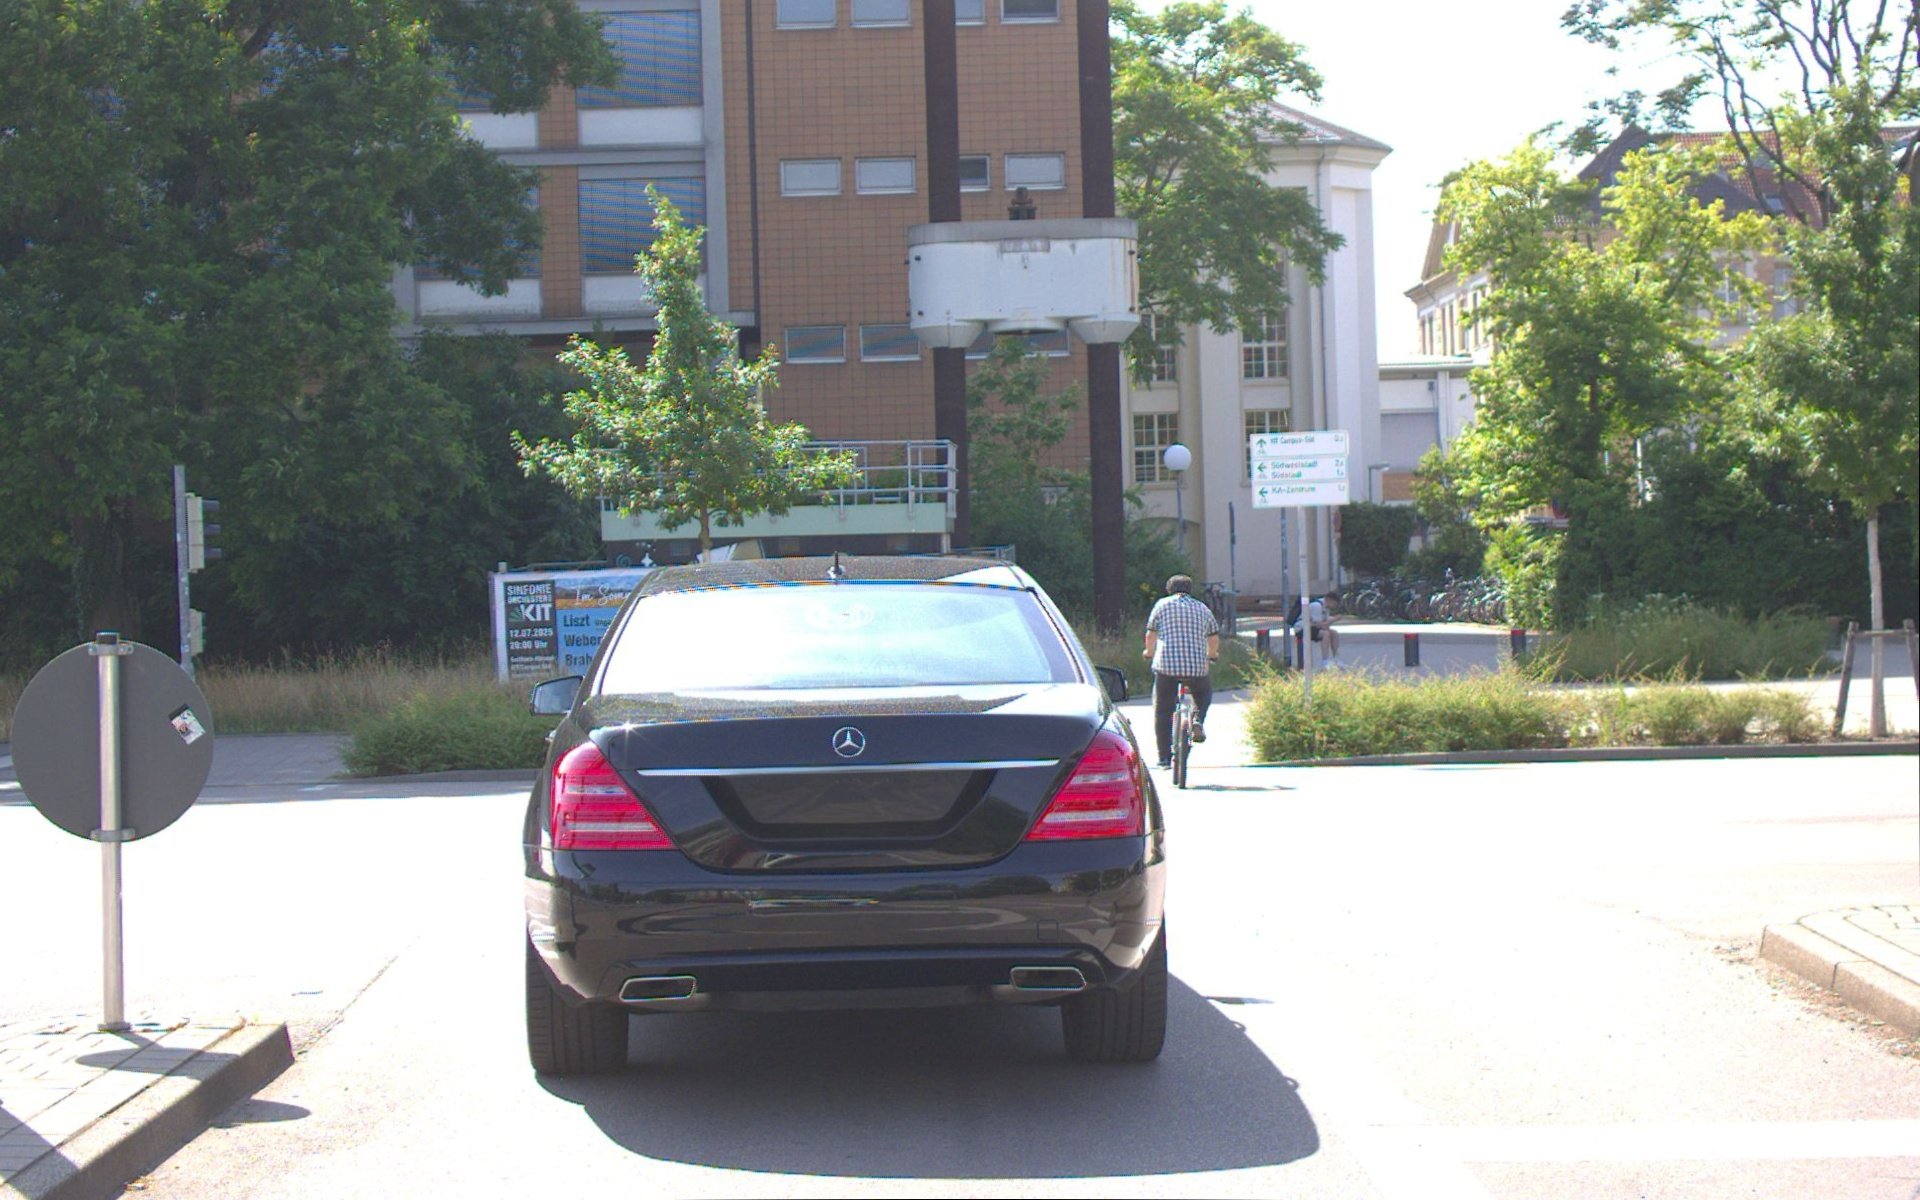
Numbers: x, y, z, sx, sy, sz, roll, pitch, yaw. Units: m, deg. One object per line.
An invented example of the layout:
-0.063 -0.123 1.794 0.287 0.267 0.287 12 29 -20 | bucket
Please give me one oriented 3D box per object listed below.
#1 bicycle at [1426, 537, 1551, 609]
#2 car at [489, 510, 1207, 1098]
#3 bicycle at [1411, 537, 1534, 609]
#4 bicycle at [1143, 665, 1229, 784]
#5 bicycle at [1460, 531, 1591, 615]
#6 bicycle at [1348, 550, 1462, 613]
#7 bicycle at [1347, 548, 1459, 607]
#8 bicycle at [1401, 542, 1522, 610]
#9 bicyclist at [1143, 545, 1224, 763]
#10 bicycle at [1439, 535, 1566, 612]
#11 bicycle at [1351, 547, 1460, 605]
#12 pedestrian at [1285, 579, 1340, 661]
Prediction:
12.747 -0.655 82.990 2.823 1.643 0.842 -2 1 -1 | bicycle
-0.388 0.530 11.304 1.858 1.525 4.714 0 0 -2 | car
12.526 -0.665 84.098 2.823 1.653 0.842 -2 2 -1 | bicycle
1.939 1.055 29.681 0.692 0.943 1.958 1 0 3 | bicycle
13.040 -0.635 79.380 2.823 1.830 0.842 -2 1 -1 | bicycle
11.667 -0.486 90.128 2.823 1.553 0.842 -2 1 -1 | bicycle
11.901 -0.602 92.397 2.823 1.495 0.842 -2 1 -1 | bicycle
12.414 -0.600 85.165 2.823 1.581 0.842 -2 1 -1 | bicycle
1.943 0.464 29.968 0.686 1.872 0.859 0 0 3 | bicyclist
12.880 -0.633 81.640 2.823 1.738 0.842 -2 1 -1 | bicycle
12.184 -0.653 94.112 2.823 1.475 0.842 -2 1 -1 | bicycle
5.304 0.299 51.700 0.793 1.209 0.757 1 0 6 | pedestrian
